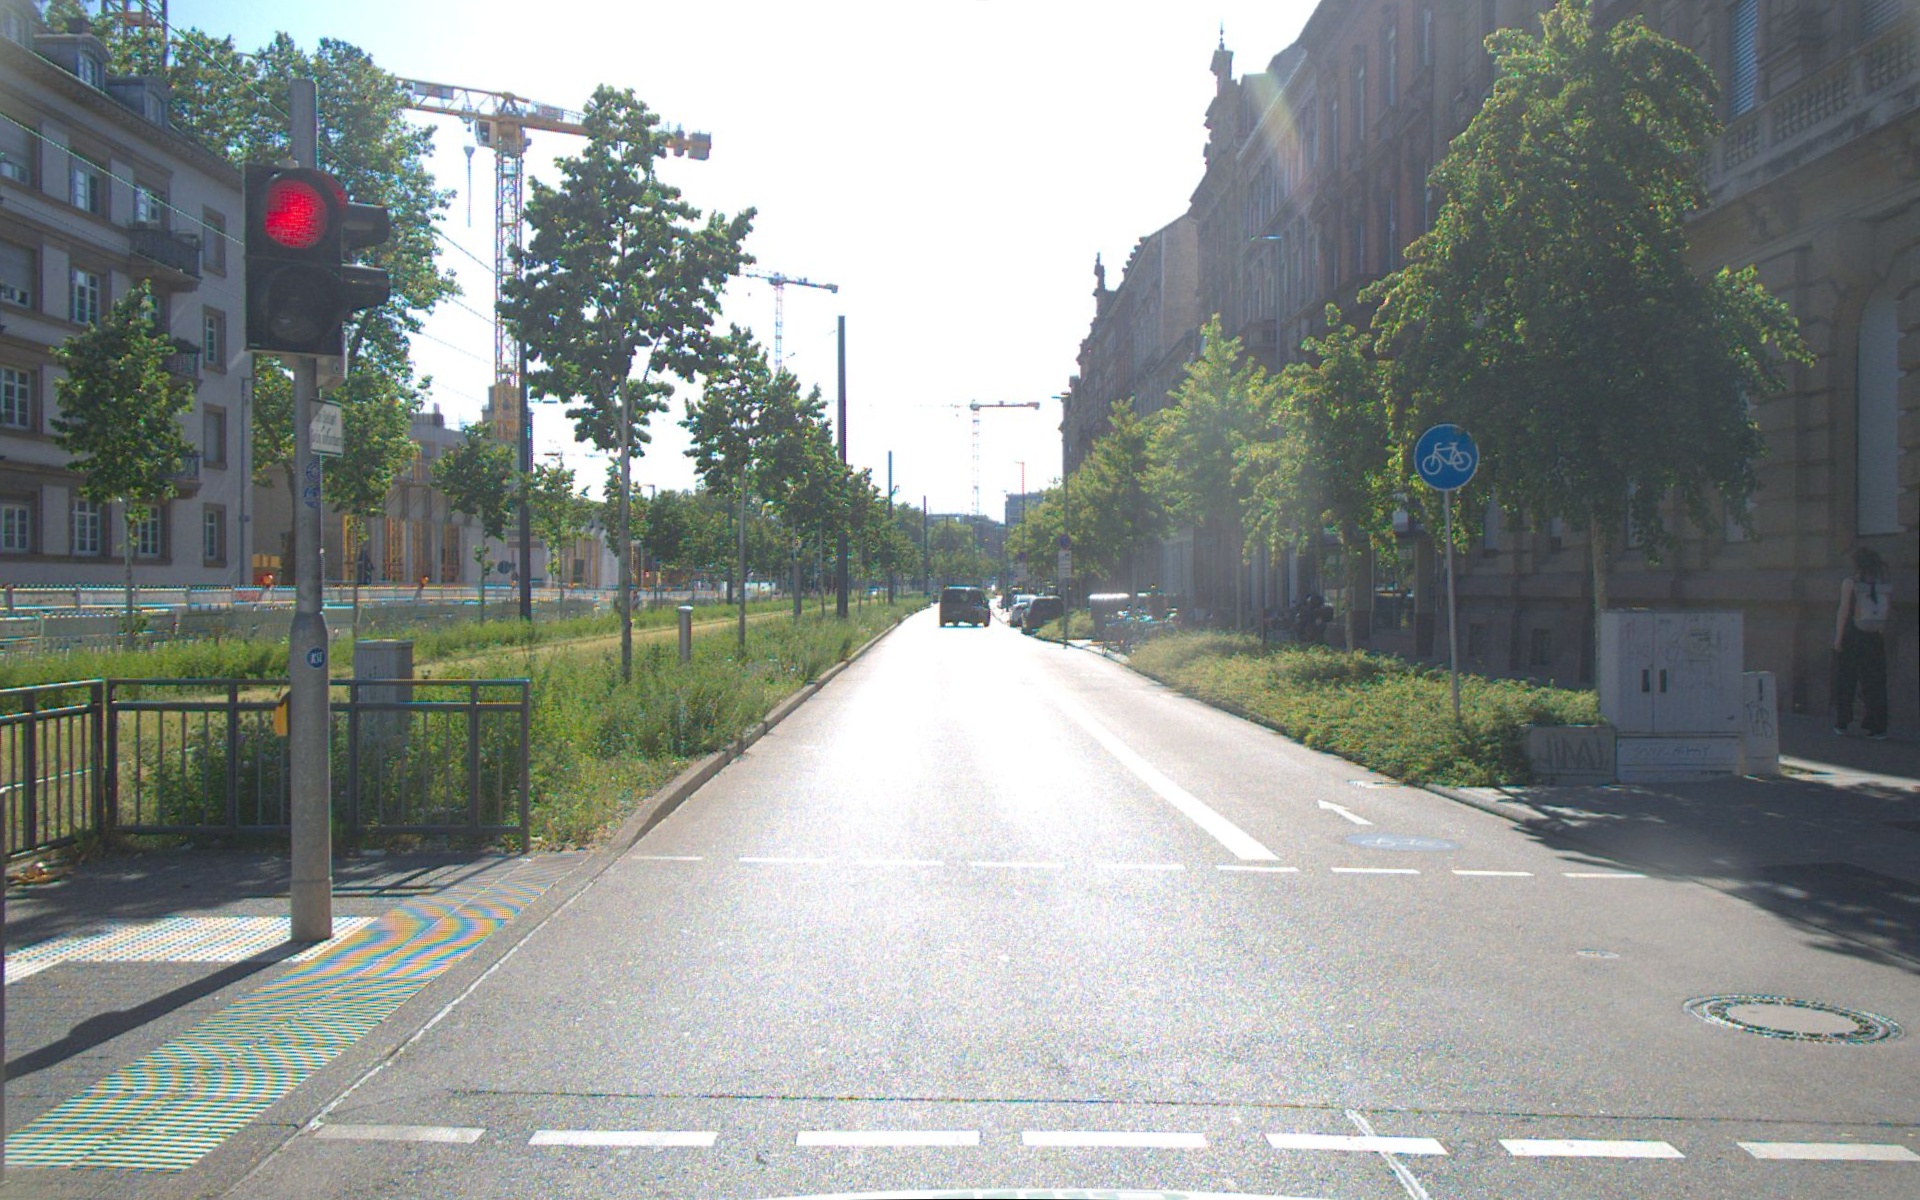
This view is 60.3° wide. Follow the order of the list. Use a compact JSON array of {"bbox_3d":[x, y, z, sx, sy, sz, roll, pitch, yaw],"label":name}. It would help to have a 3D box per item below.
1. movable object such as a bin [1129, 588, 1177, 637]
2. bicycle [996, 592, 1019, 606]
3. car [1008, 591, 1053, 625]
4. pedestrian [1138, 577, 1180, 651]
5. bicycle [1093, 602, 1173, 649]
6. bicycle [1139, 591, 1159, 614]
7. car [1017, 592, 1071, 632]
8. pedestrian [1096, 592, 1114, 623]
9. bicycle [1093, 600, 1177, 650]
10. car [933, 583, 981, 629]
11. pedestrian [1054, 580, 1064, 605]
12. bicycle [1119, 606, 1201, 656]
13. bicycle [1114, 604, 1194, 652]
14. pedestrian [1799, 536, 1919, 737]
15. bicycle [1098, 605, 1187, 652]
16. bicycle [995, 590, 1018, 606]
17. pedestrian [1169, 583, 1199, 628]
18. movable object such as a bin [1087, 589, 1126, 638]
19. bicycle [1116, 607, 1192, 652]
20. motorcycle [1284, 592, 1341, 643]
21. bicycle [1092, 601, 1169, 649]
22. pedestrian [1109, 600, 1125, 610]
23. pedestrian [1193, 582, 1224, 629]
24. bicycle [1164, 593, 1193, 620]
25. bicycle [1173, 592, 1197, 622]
[{"bbox_3d":[6.408,0.409,54.942,1.345,1.521,1.749,-3,0,0],"label":"movable object such as a bin"},{"bbox_3d":[4.009,-0.073,139.219,1.790,1.097,0.664,-3,0,-7],"label":"bicycle"},{"bbox_3d":[3.397,0.369,80.309,1.912,1.521,5.104,-2,0,0],"label":"car"},{"bbox_3d":[4.988,0.347,41.433,0.880,1.766,0.850,-4,0,11],"label":"pedestrian"},{"bbox_3d":[4.600,0.670,44.085,2.004,1.126,0.610,-3,0,-7],"label":"bicycle"},{"bbox_3d":[9.607,0.111,84.126,0.706,1.109,2.198,-1,0,0],"label":"bicycle"},{"bbox_3d":[3.395,0.482,67.601,1.730,1.502,4.446,-2,0,-3],"label":"car"},{"bbox_3d":[8.458,0.431,96.454,0.976,1.762,0.866,1,-1,-1],"label":"pedestrian"},{"bbox_3d":[4.562,0.649,43.001,2.111,1.174,0.428,-3,1,-15],"label":"bicycle"},{"bbox_3d":[-0.117,0.287,77.970,1.951,2.049,4.002,1,0,4],"label":"car"},{"bbox_3d":[8.331,-0.630,139.055,0.801,2.049,1.046,1,-2,-1],"label":"pedestrian"},{"bbox_3d":[4.799,0.739,39.678,1.855,1.128,0.517,-2,0,-6],"label":"bicycle"},{"bbox_3d":[4.863,0.698,41.496,1.938,1.127,0.435,-2,0,-4],"label":"bicycle"},{"bbox_3d":[9.264,0.354,16.844,0.871,1.953,1.098,-2,0,4],"label":"pedestrian"},{"bbox_3d":[4.703,0.729,42.659,2.247,1.121,0.484,-2,0,-15],"label":"bicycle"},{"bbox_3d":[3.890,-0.145,137.683,1.843,1.255,0.499,-3,0,-6],"label":"bicycle"},{"bbox_3d":[8.156,0.202,60.207,0.931,1.594,1.080,-1,1,-1],"label":"pedestrian"},{"bbox_3d":[4.846,0.438,54.745,1.244,1.488,1.645,1,2,4],"label":"movable object such as a bin"},{"bbox_3d":[4.824,0.730,41.152,1.780,1.074,0.571,-2,0,-7],"label":"bicycle"},{"bbox_3d":[9.451,0.460,44.505,0.848,1.288,2.981,1,0,-1],"label":"motorcycle"},{"bbox_3d":[4.589,0.674,44.493,1.937,1.143,0.481,-4,1,-6],"label":"bicycle"},{"bbox_3d":[9.593,0.318,100.986,0.757,0.562,2.007,-1,1,-1],"label":"pedestrian"},{"bbox_3d":[9.066,0.191,60.339,0.951,1.667,0.992,-1,1,-1],"label":"pedestrian"},{"bbox_3d":[9.644,0.270,73.026,0.858,1.124,2.180,-3,0,-3],"label":"bicycle"},{"bbox_3d":[9.500,0.289,69.959,0.732,1.222,1.800,-1,0,-1],"label":"bicycle"}]
